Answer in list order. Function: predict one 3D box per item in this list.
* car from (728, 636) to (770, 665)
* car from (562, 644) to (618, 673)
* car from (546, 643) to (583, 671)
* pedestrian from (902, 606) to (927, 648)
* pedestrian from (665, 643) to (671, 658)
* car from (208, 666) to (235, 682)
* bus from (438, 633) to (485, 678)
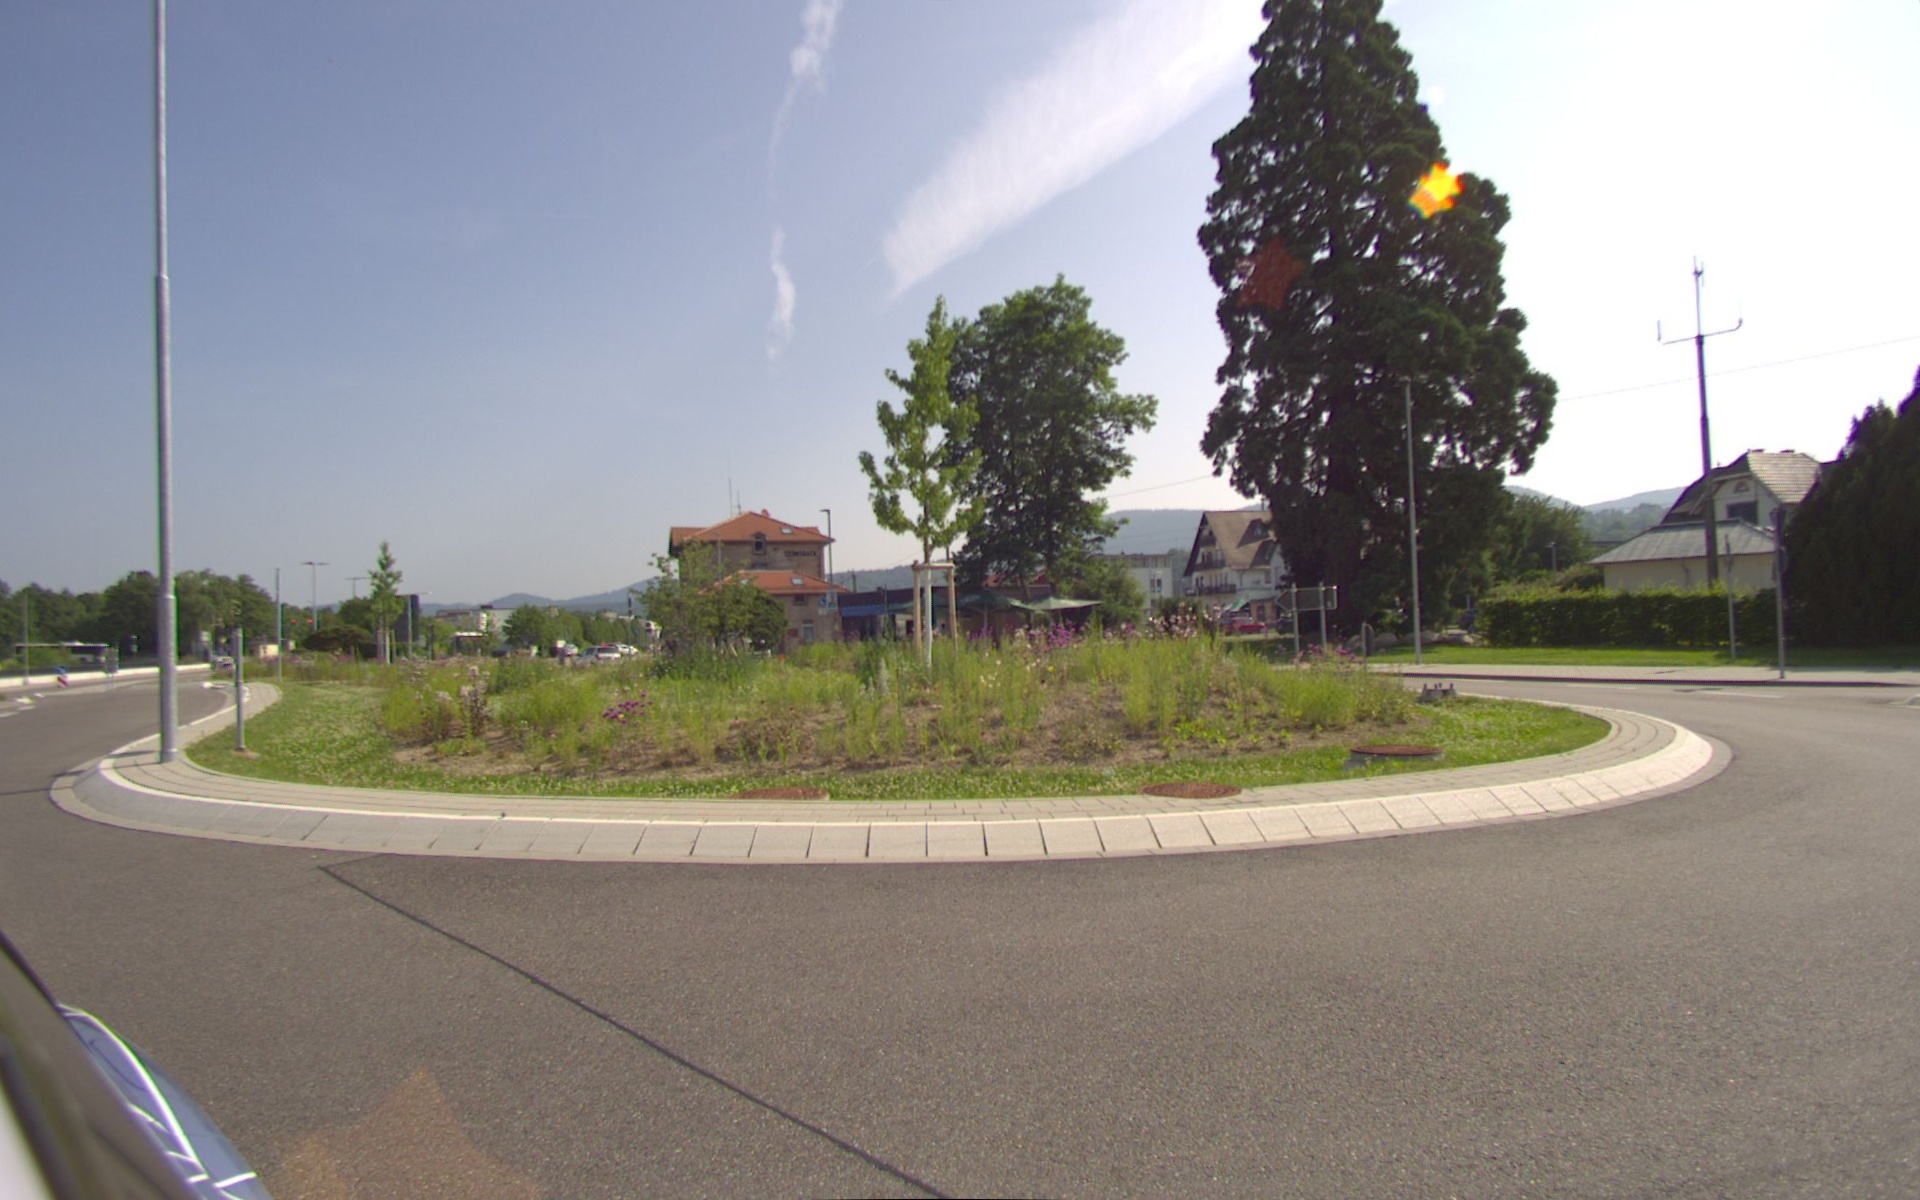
[{"bbox_3d":[-13.412,3.174,64.272,1.651,1.580,3.663,-4,1,-26],"label":"car"},{"bbox_3d":[-20.701,3.276,56.569,1.649,1.543,4.005,1,-3,-41],"label":"car"},{"bbox_3d":[-31.606,4.521,81.002,1.946,1.979,5.170,-4,-1,-13],"label":"car"},{"bbox_3d":[-2.289,1.351,50.890,0.707,2.029,0.849,-5,-1,35],"label":"pedestrian"},{"bbox_3d":[-24.970,4.315,86.507,0.365,1.171,0.508,-4,-1,-21],"label":"pedestrian"},{"bbox_3d":[-76.181,7.655,104.433,1.752,1.408,4.012,-4,-1,-30],"label":"car"},{"bbox_3d":[-41.969,4.656,85.076,2.545,3.354,10.619,-4,-1,-31],"label":"bus"}]
